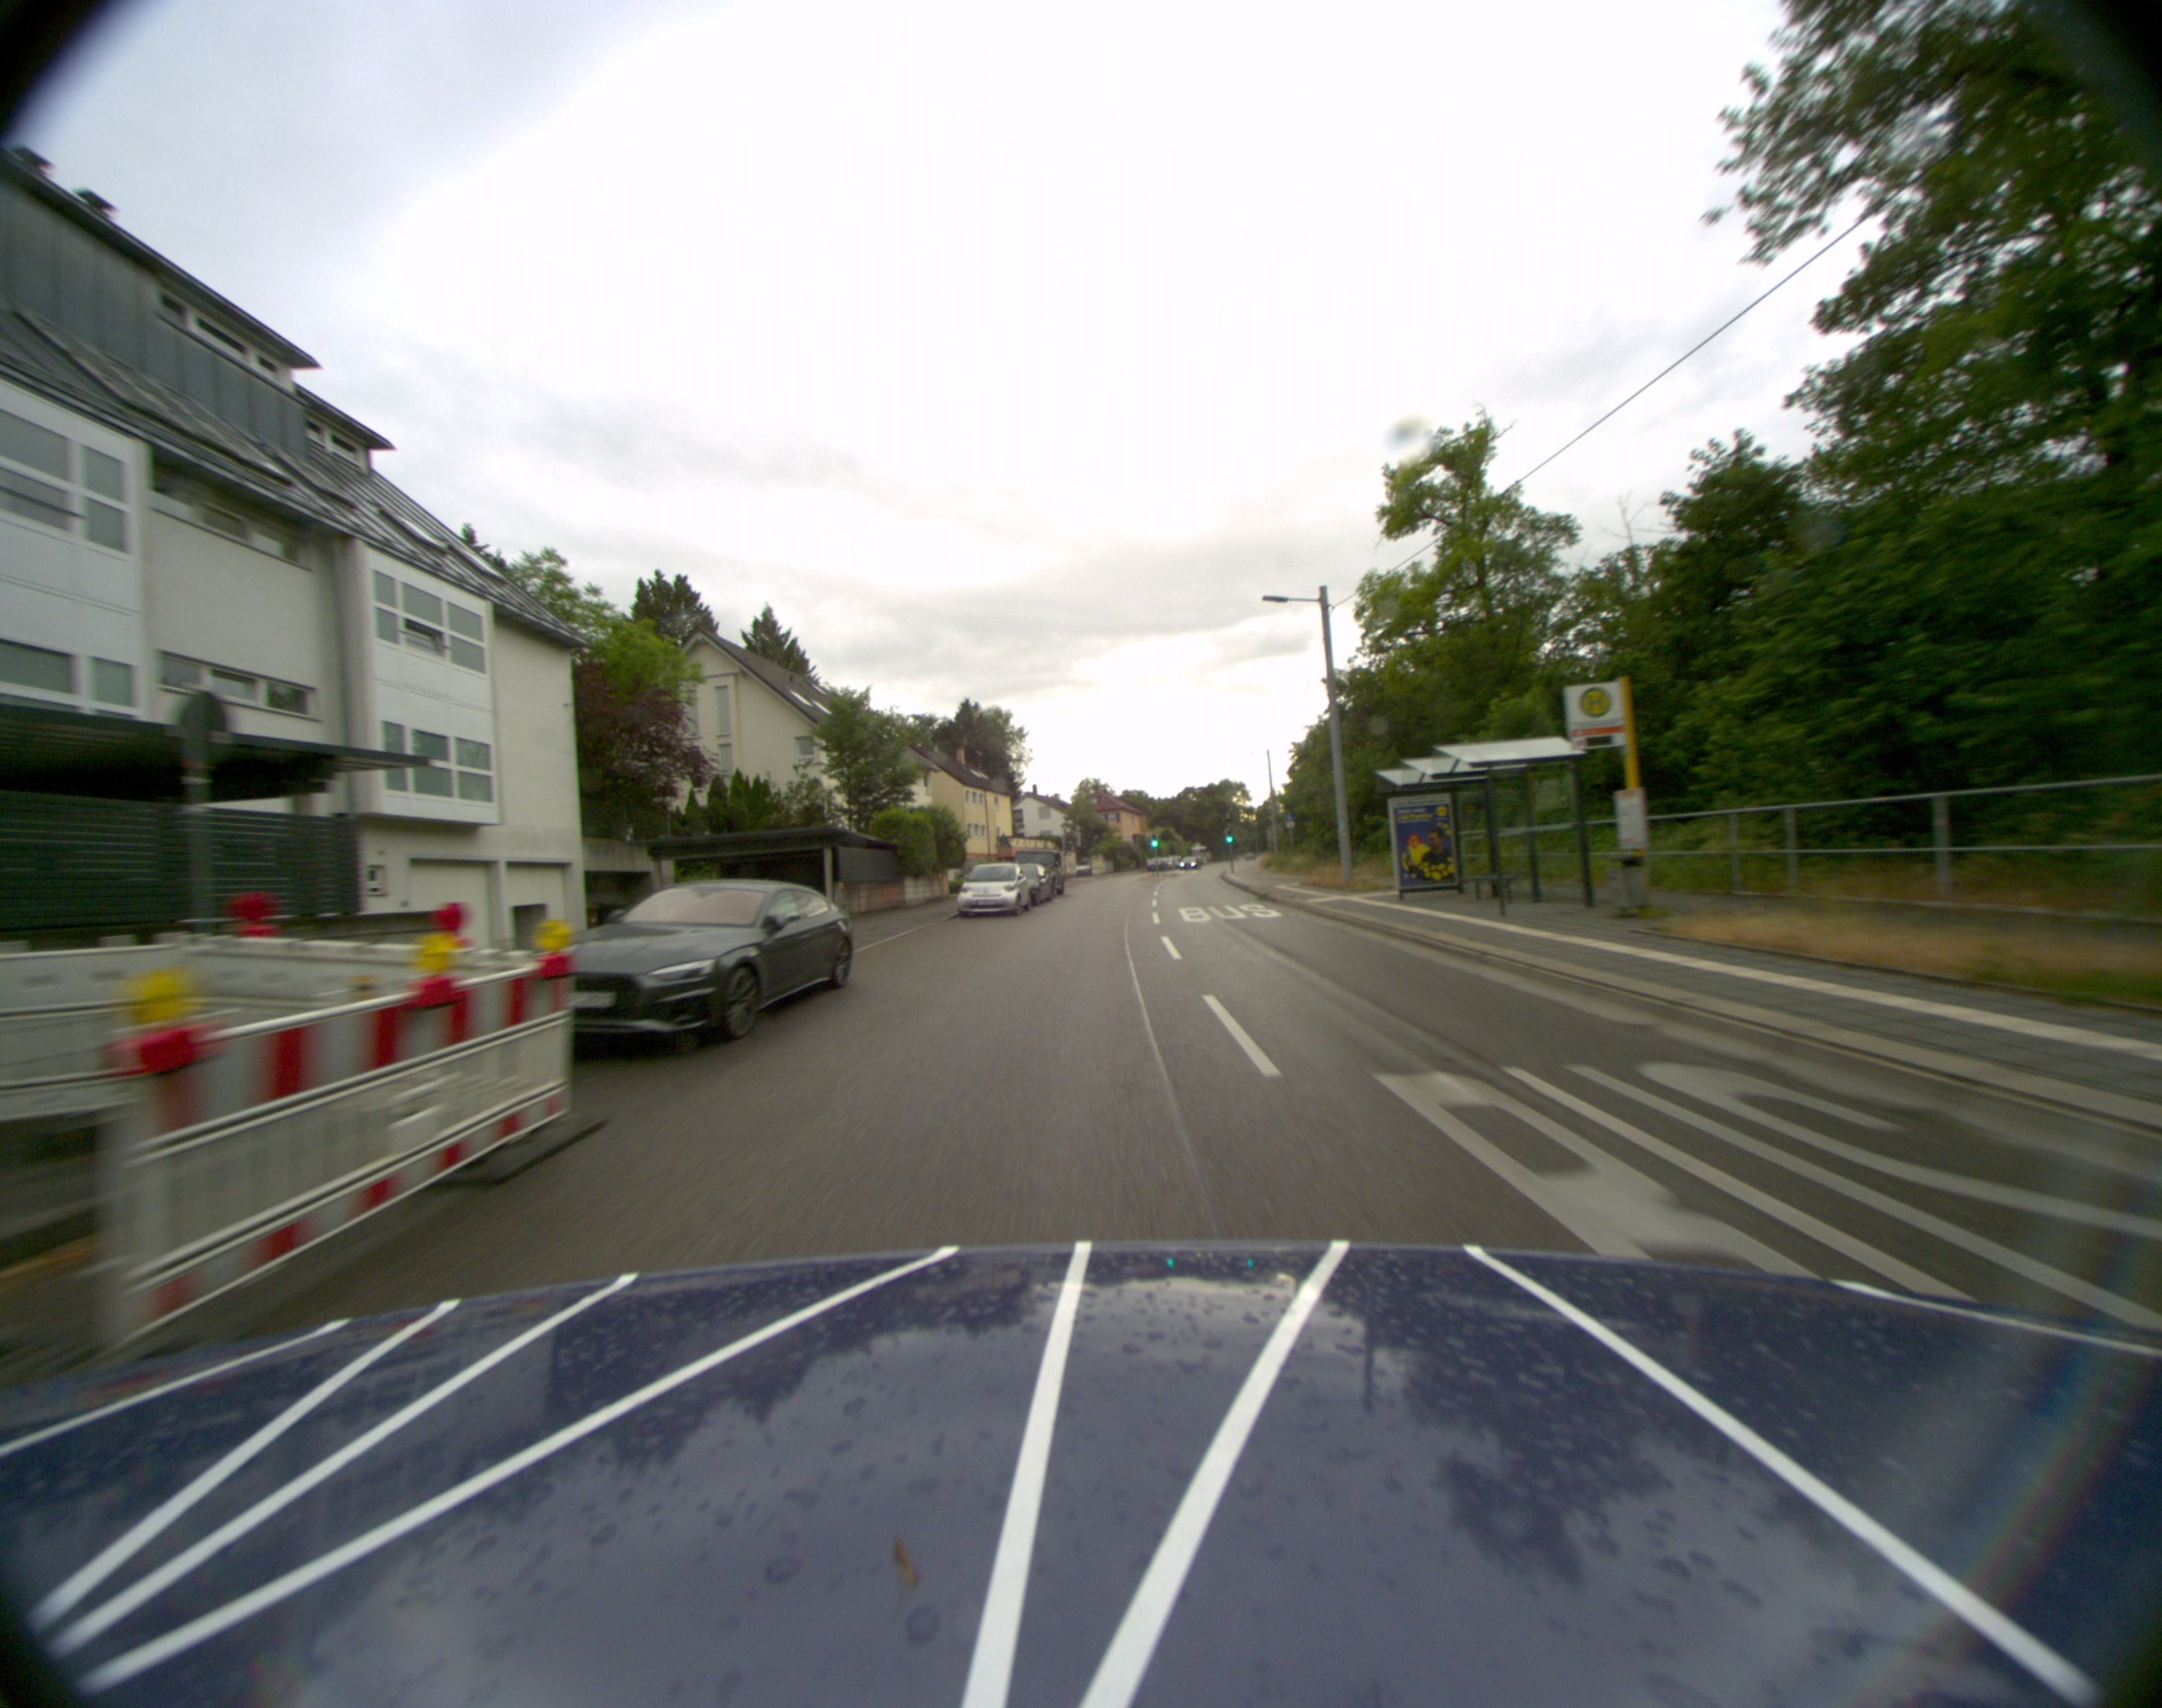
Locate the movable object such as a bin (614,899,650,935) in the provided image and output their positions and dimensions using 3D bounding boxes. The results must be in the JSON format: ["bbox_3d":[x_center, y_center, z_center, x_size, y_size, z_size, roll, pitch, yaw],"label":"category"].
[{"bbox_3d":[-13.899,1.939,23.549,0.644,1.017,0.673,-3,0,2],"label":"movable object such as a bin"}]

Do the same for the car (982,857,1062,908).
[{"bbox_3d":[-1.976,0.940,26.932,1.935,1.587,4.396,-1,1,7],"label":"car"}]

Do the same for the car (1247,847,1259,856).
[{"bbox_3d":[30.726,-0.539,135.859,1.746,1.451,4.419,-3,0,17],"label":"car"}]

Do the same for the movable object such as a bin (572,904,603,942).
[{"bbox_3d":[-13.809,1.925,21.267,0.424,1.017,0.573,-3,0,2],"label":"movable object such as a bin"}]

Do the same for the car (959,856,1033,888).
[{"bbox_3d":[-5.502,1.164,49.594,4.336,1.586,1.993,-6,0,8],"label":"car"}]

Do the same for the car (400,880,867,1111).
[{"bbox_3d":[-3.939,1.119,7.954,1.937,1.414,4.837,-3,0,0],"label":"car"}]

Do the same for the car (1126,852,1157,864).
[{"bbox_3d":[7.890,0.553,99.268,3.662,1.557,1.885,0,0,16],"label":"car"}]

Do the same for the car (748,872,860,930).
[{"bbox_3d":[-8.415,1.376,23.487,1.739,1.388,4.001,-5,0,3],"label":"car"}]

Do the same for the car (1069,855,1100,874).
[{"bbox_3d":[0.391,0.997,76.574,1.934,1.586,4.346,-4,0,16],"label":"car"}]

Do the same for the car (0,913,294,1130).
[{"bbox_3d":[-8.939,1.413,5.657,1.699,1.463,4.001,-6,0,4],"label":"car"}]

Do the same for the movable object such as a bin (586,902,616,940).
[{"bbox_3d":[-13.808,1.927,21.861,0.424,1.017,0.573,-3,0,2],"label":"movable object such as a bin"}]

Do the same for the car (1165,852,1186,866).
[{"bbox_3d":[11.503,0.533,91.894,1.732,1.558,4.527,-3,0,16],"label":"car"}]

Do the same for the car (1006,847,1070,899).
[{"bbox_3d":[-1.723,0.721,32.003,1.998,2.002,4.958,-1,0,4],"label":"car"}]

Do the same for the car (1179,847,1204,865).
[{"bbox_3d":[11.729,0.226,80.594,1.996,1.714,4.004,-3,0,16],"label":"car"}]

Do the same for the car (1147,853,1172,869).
[{"bbox_3d":[8.383,0.707,80.807,1.754,1.435,4.605,-3,0,16],"label":"car"}]

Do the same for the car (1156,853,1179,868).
[{"bbox_3d":[9.800,0.708,86.030,1.795,1.478,4.499,-3,1,16],"label":"car"}]

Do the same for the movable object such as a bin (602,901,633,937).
[{"bbox_3d":[-13.837,1.930,22.678,0.506,1.017,0.573,-3,0,2],"label":"movable object such as a bin"}]

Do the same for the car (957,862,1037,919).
[{"bbox_3d":[-2.409,1.025,22.492,1.676,1.449,3.387,-2,0,5],"label":"car"}]
